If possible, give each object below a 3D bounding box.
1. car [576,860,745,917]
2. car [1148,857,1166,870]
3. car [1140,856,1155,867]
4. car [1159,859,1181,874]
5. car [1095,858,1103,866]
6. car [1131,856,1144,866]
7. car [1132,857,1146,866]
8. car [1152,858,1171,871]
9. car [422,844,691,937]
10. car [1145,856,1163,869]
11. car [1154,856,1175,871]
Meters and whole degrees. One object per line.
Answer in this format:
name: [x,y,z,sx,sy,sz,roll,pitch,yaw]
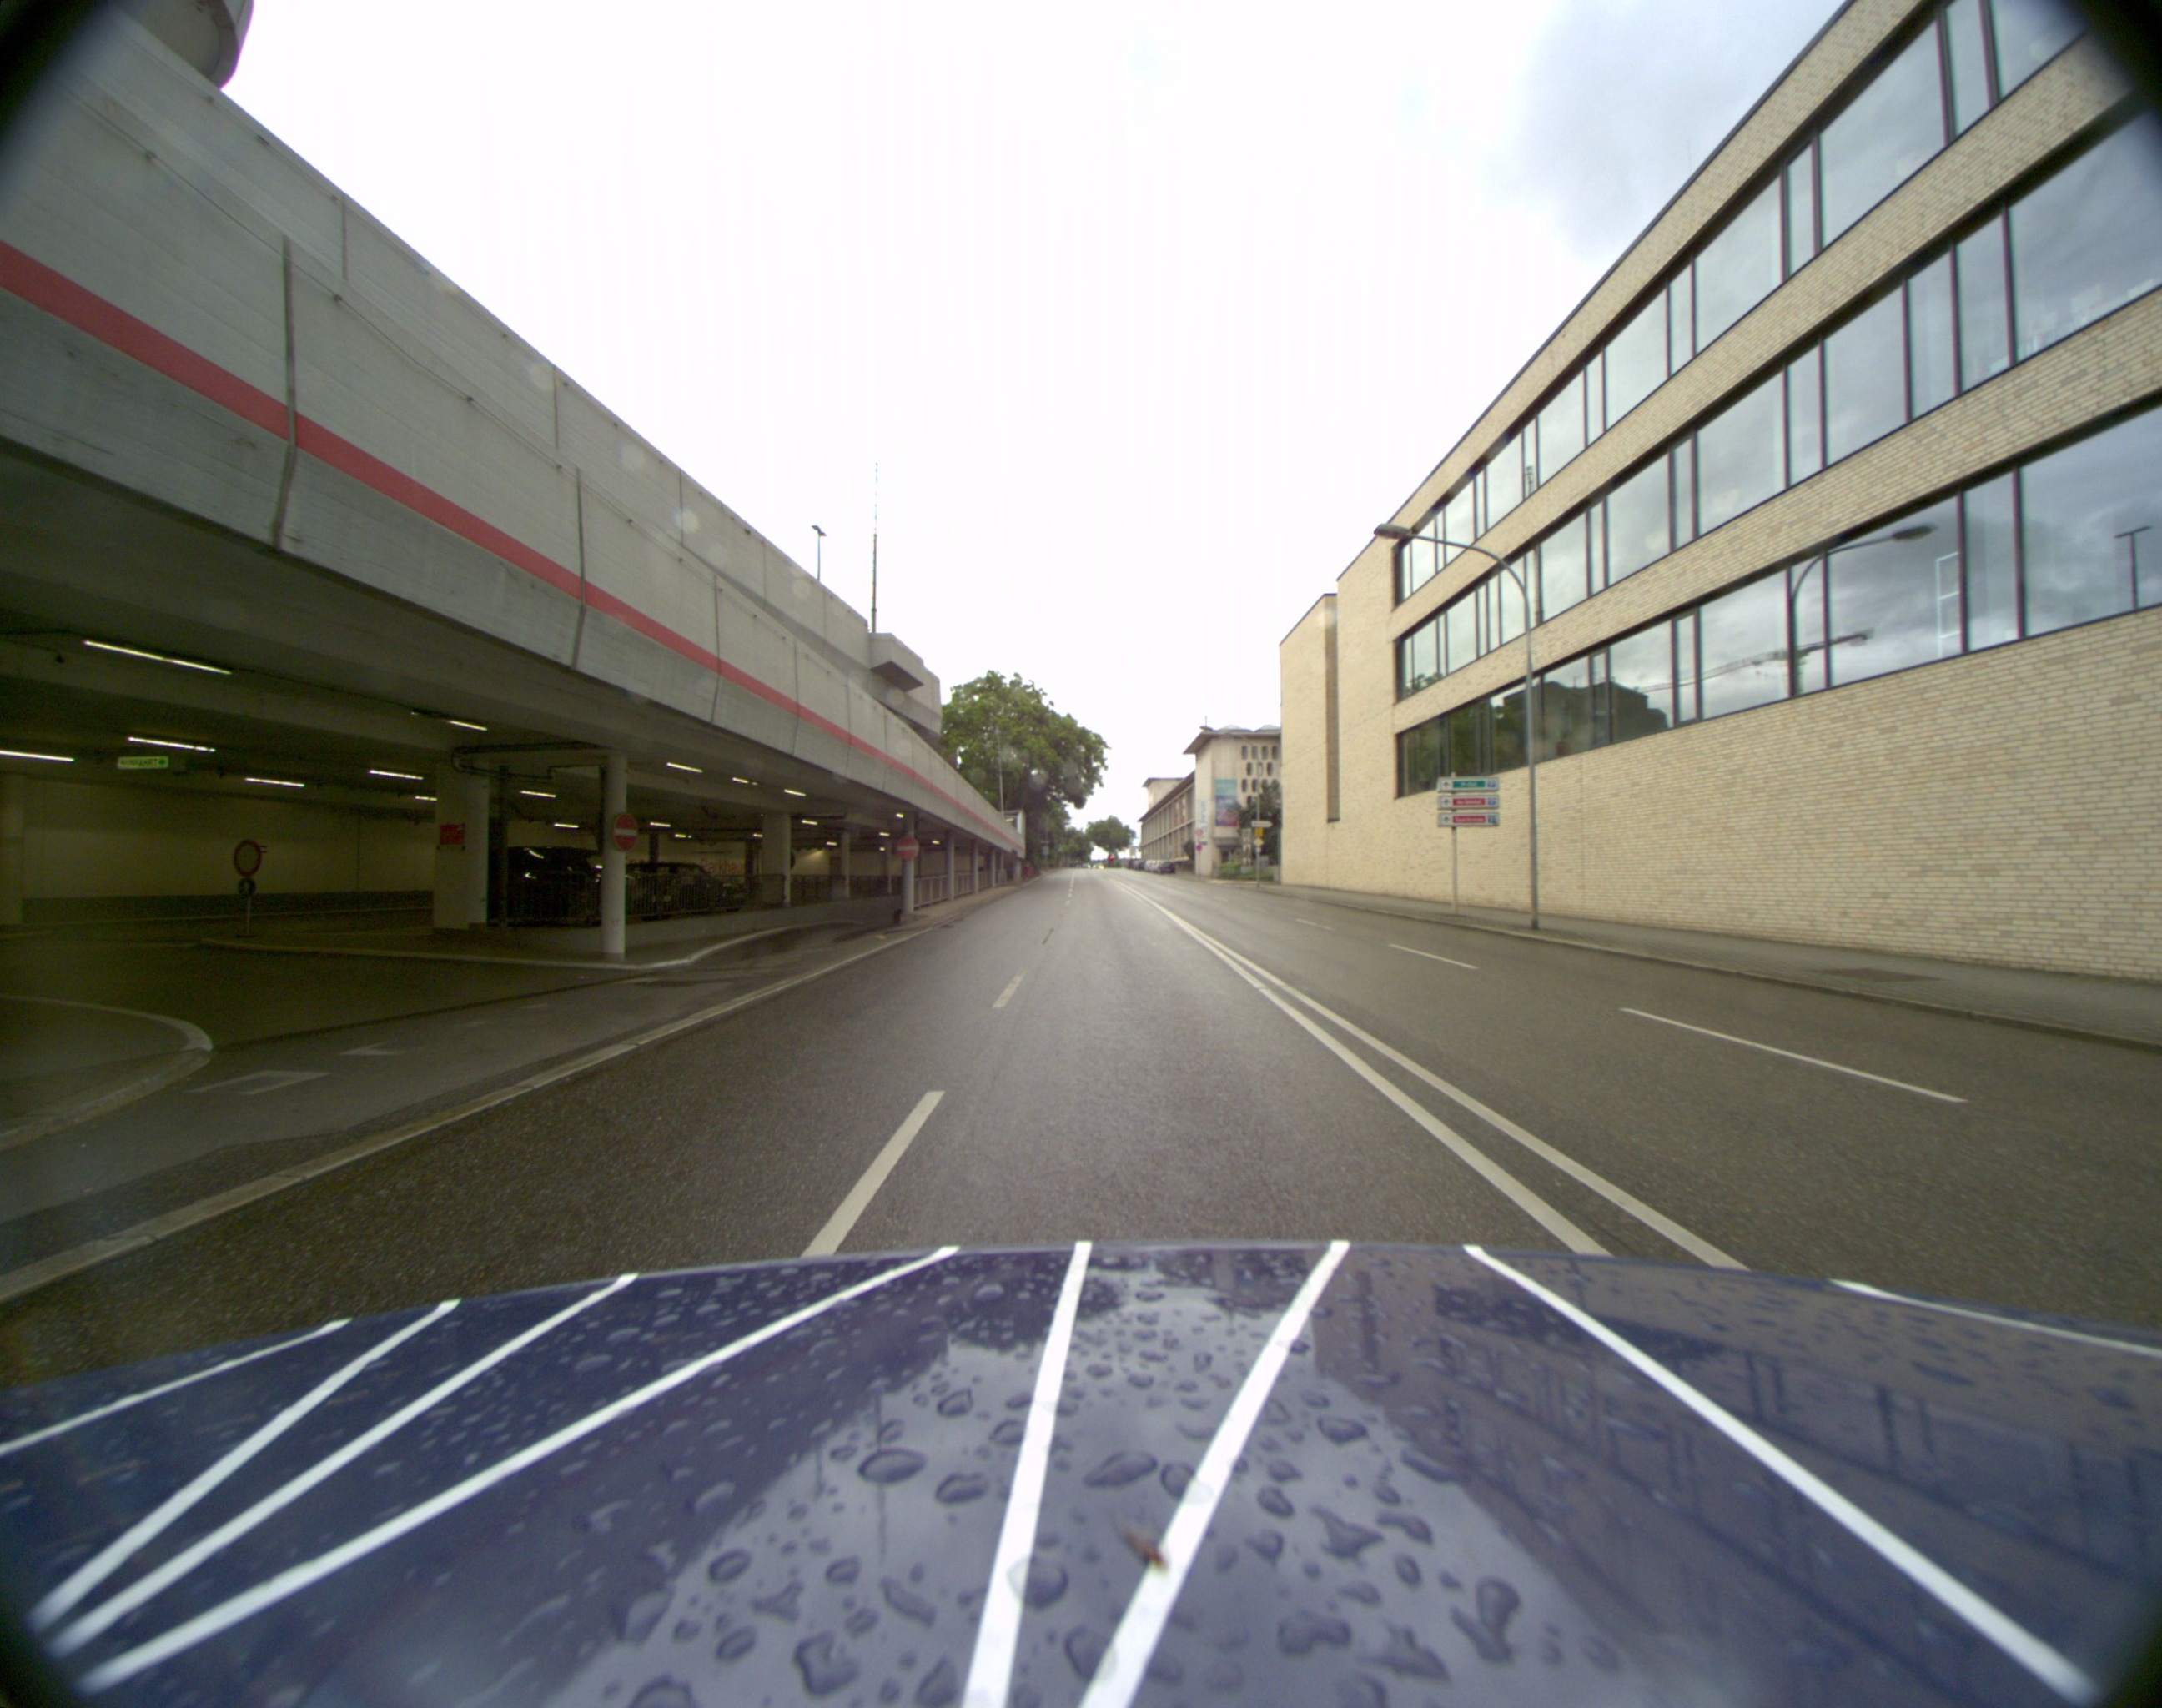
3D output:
car: [-11.619,0.933,21.113,3.730,1.496,1.809,0,-1,8]
car: [10.309,1.284,103.549,1.998,1.482,4.185,-2,1,0]
car: [10.379,1.146,118.366,1.999,1.701,3.999,0,1,-1]
car: [10.274,1.460,87.778,1.999,1.520,3.999,-2,1,-1]
car: [4.890,2.238,209.508,1.805,2.002,3.997,-2,1,-5]
car: [10.295,1.318,139.359,1.999,1.637,3.998,-3,2,-1]
car: [9.987,1.286,131.524,1.999,1.528,3.999,-2,1,0]
car: [10.439,1.332,98.569,1.998,1.503,4.000,-2,1,1]
car: [-10.894,0.713,15.931,4.584,1.630,1.823,2,0,8]
car: [10.477,1.168,109.904,1.999,1.521,3.999,-7,1,-1]
car: [10.222,1.157,93.100,1.998,1.632,3.999,-2,1,0]
